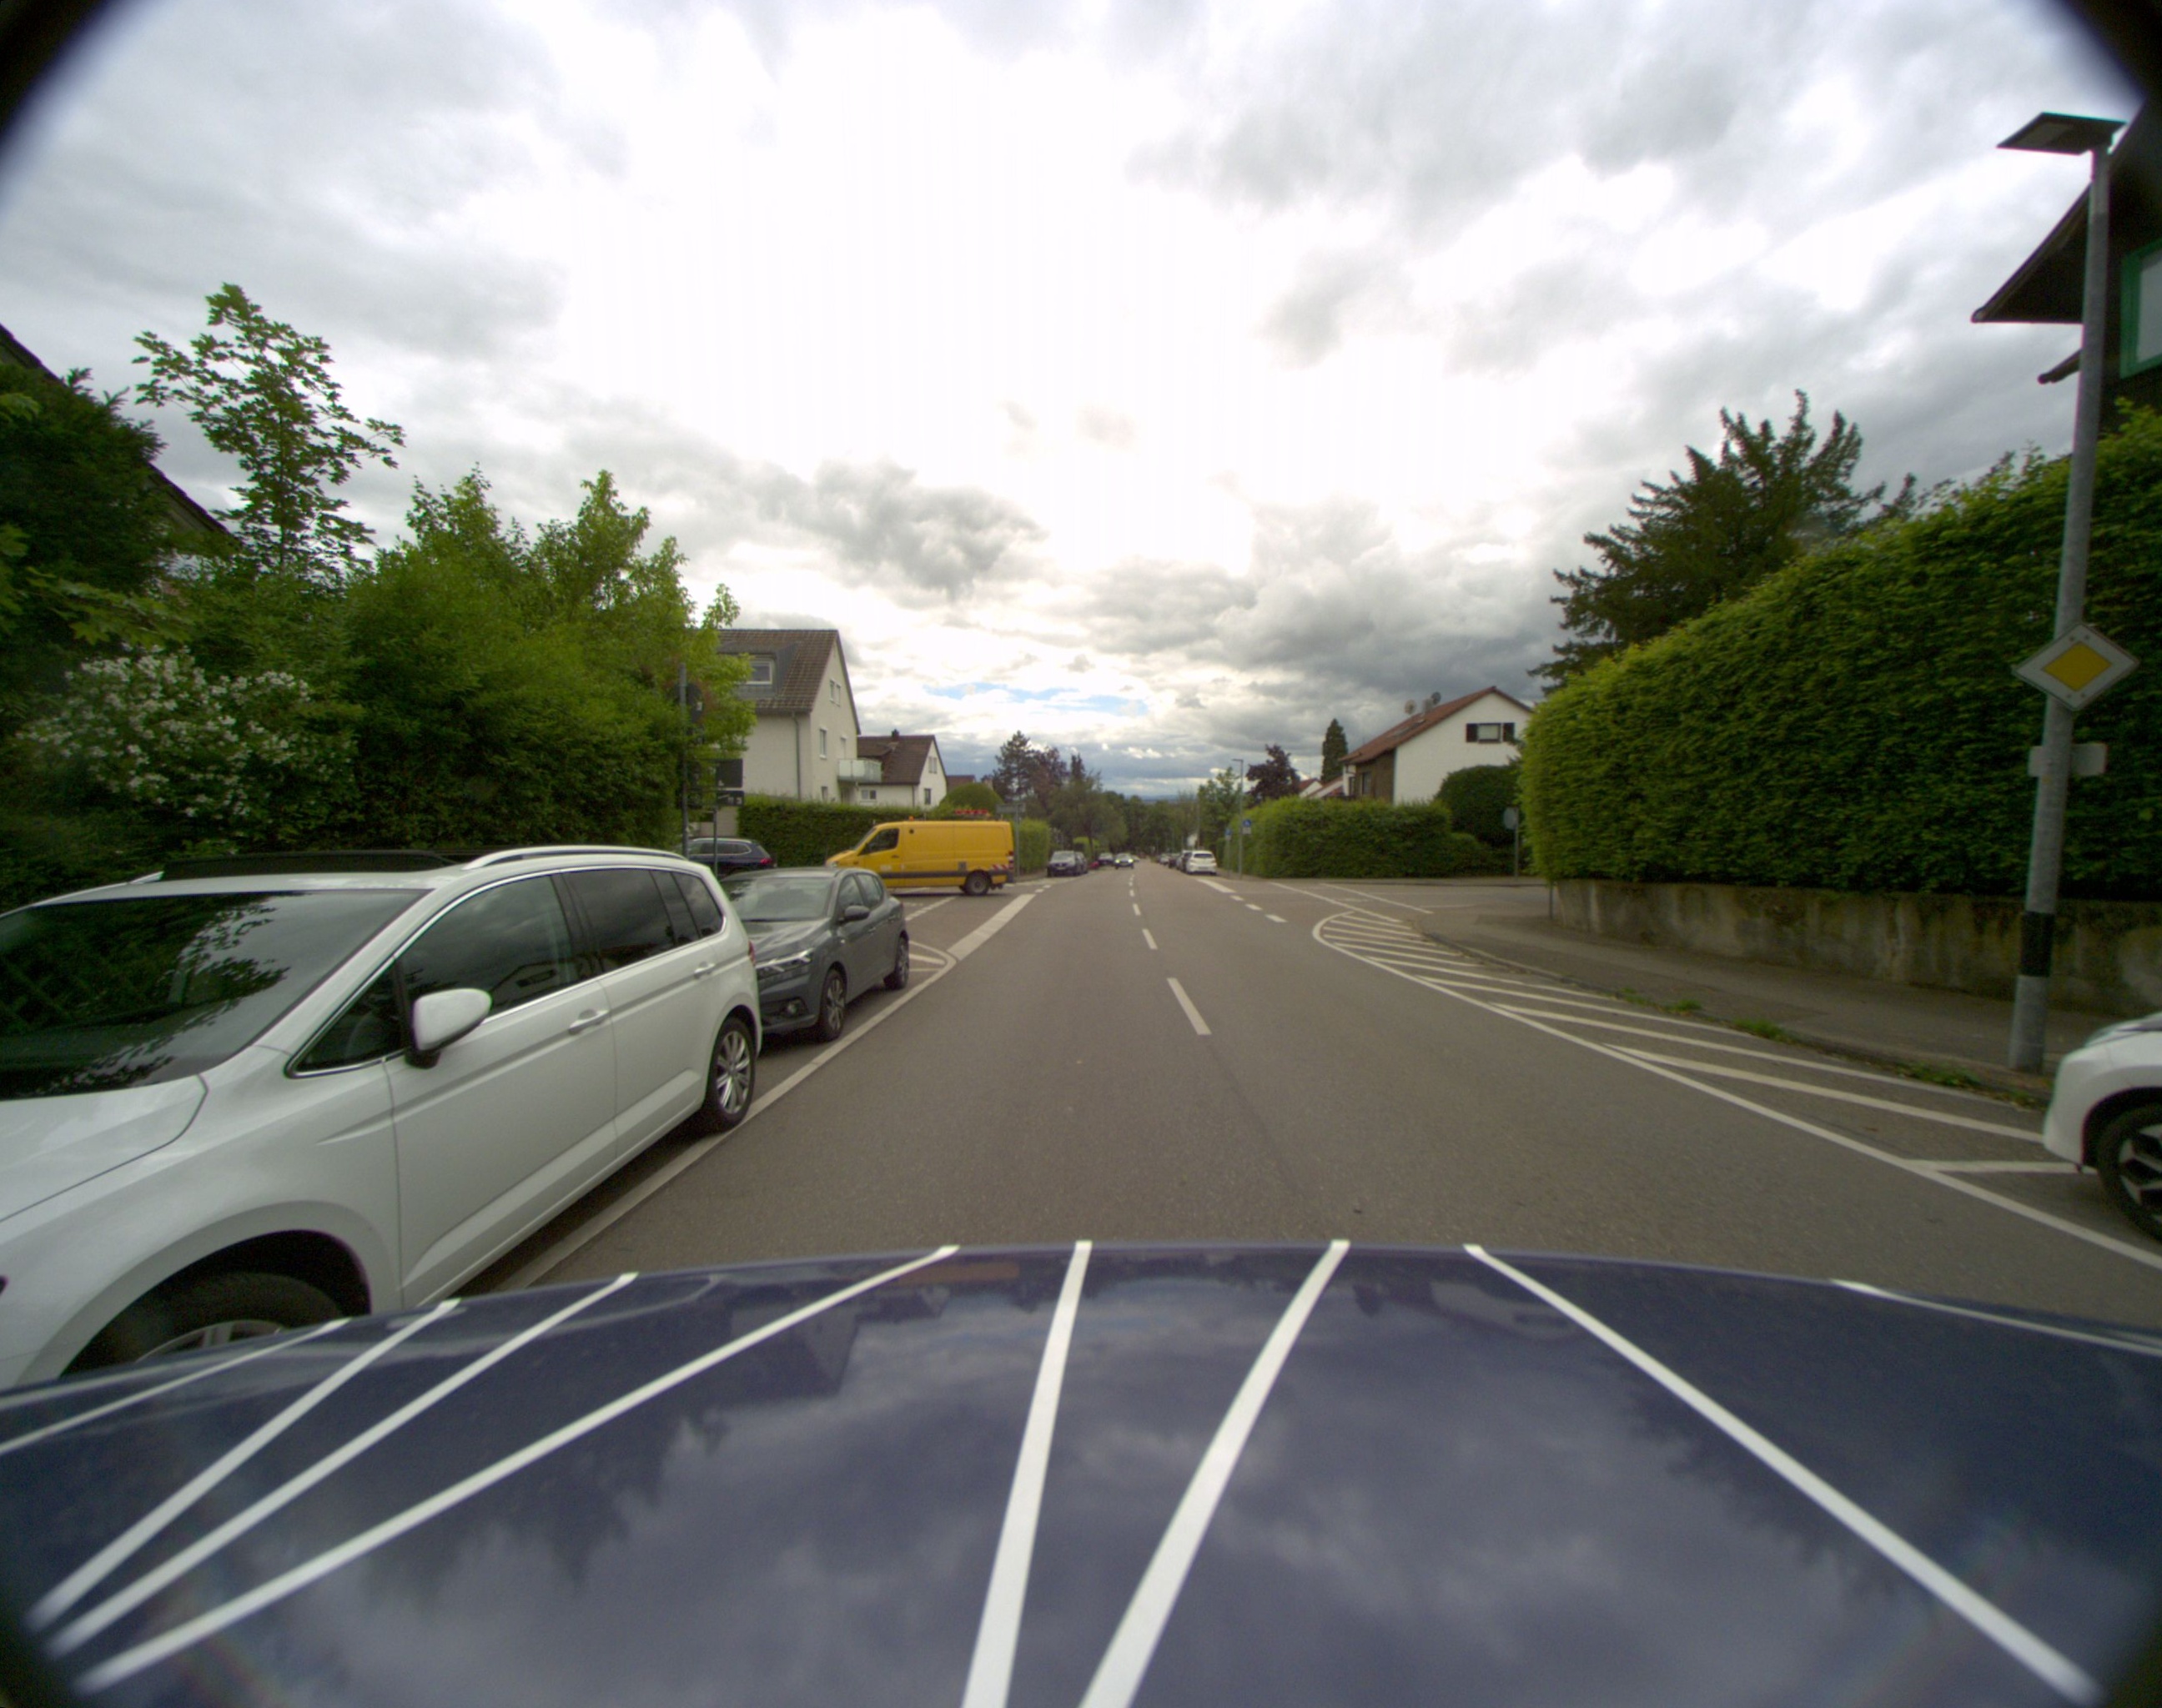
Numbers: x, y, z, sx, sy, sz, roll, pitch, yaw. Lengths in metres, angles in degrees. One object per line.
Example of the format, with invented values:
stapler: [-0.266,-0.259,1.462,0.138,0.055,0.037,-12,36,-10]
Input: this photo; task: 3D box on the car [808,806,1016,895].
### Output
car: [-5.342,-0.084,24.067,6.149,2.586,2.364,1,0,-18]

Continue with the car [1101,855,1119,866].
car: [3.610,0.797,92.977,1.998,1.221,4.001,0,0,5]

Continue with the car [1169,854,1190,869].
car: [9.960,0.737,76.882,1.944,1.540,4.007,1,0,5]

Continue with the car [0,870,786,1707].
car: [-2.935,0.922,2.857,2.006,1.599,4.757,1,0,-3]

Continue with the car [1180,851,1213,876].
car: [7.773,0.576,51.404,1.785,1.481,4.740,3,1,5]

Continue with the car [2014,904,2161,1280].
car: [5.087,0.982,1.660,1.749,1.439,3.514,3,0,2]

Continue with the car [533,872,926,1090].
car: [-3.038,0.985,7.814,1.942,1.483,4.456,1,0,0]

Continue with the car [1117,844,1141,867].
car: [4.616,0.121,73.090,1.999,2.002,3.999,-2,1,0]

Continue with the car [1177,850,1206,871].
car: [8.329,0.485,57.584,1.890,1.481,4.344,1,0,5]

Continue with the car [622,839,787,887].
car: [-12.292,0.298,25.149,4.521,1.426,1.998,1,0,-13]

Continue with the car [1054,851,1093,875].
car: [-0.430,0.577,50.931,1.927,1.485,5.211,0,0,7]

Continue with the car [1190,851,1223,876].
car: [7.604,0.534,46.363,1.693,1.411,3.581,2,0,5]

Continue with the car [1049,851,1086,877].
car: [-0.768,0.565,45.508,1.794,1.480,4.380,1,0,5]
